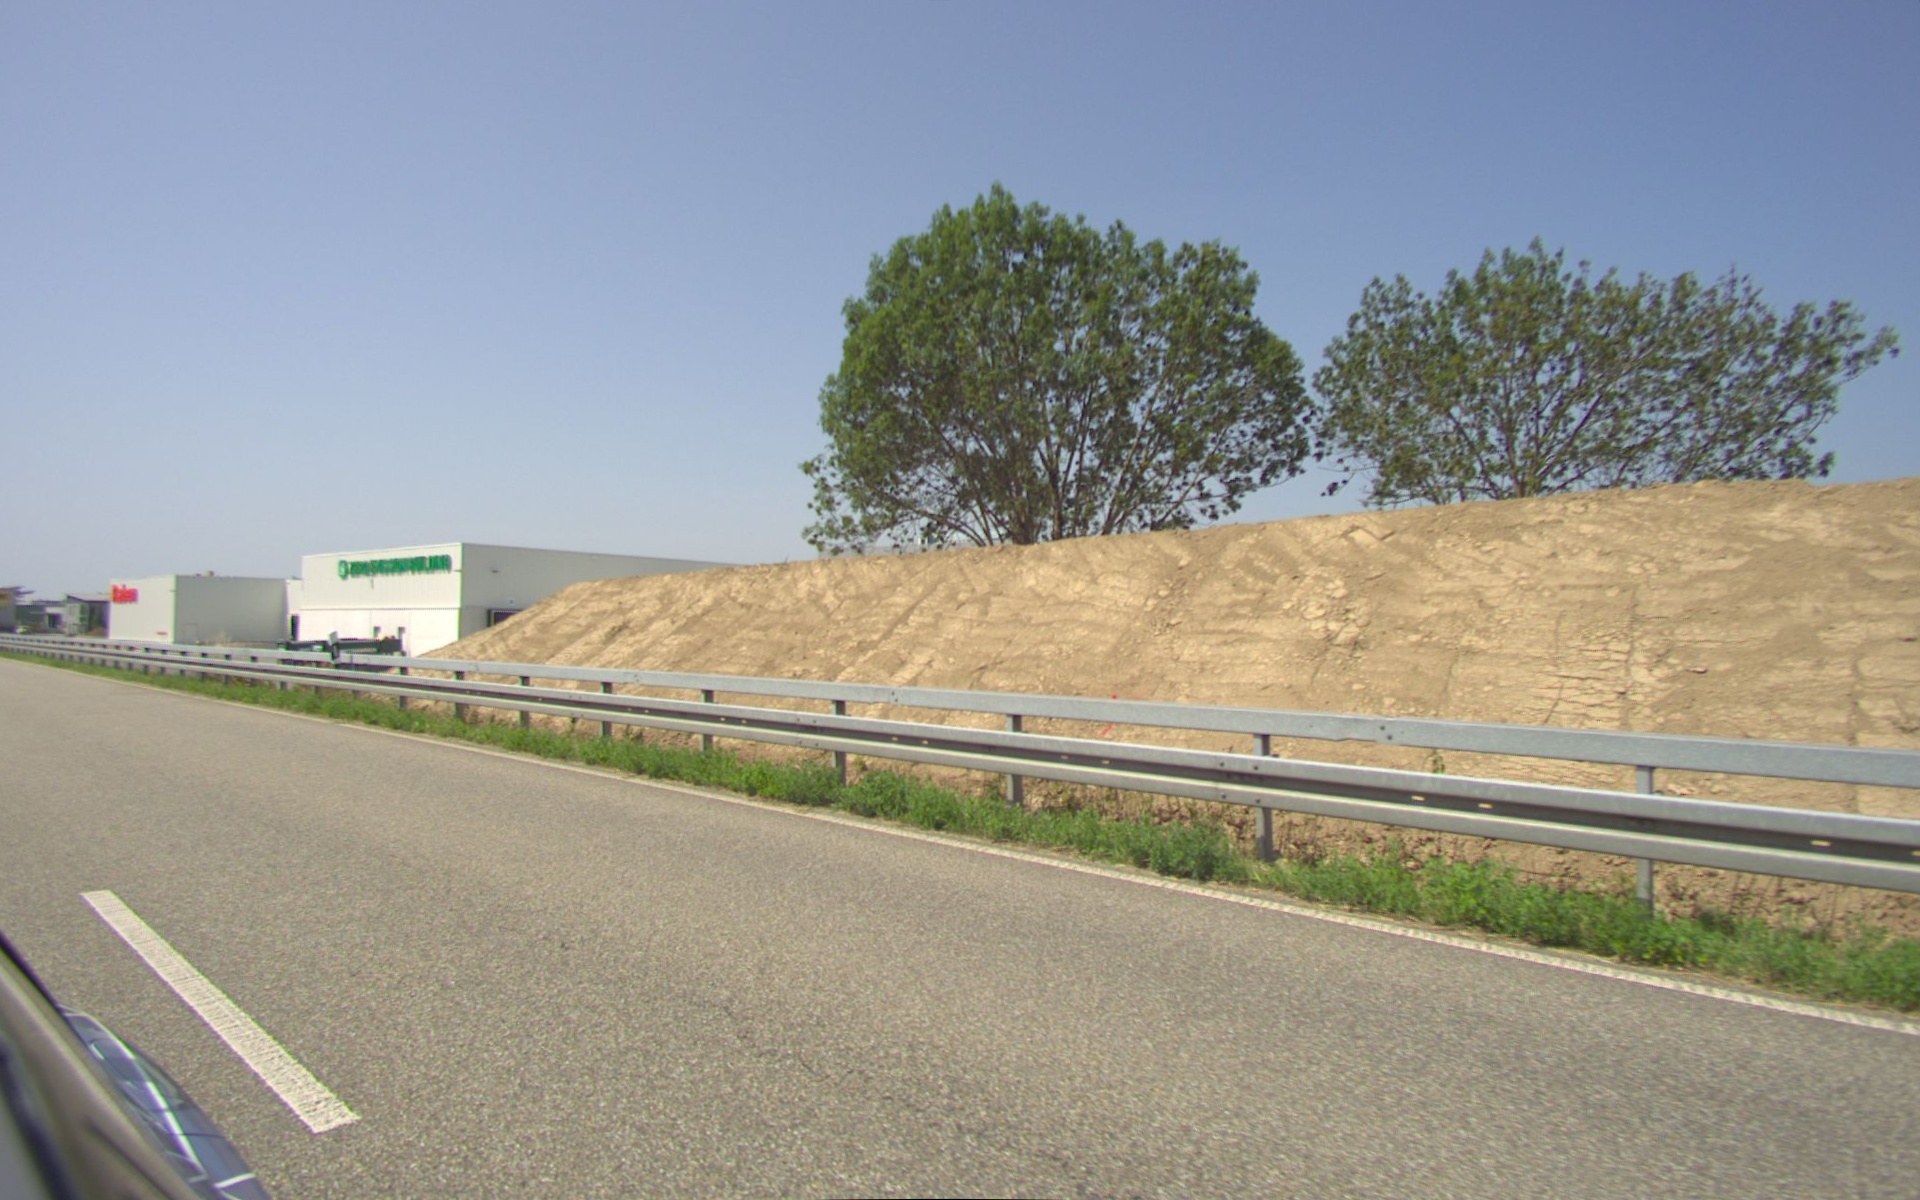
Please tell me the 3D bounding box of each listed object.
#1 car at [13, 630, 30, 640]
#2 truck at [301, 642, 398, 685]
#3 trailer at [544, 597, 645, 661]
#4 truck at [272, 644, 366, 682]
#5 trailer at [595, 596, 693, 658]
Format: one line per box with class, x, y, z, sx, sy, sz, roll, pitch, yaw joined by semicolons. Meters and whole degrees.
car;-165.666;6.132;178.605;3.306;1.686;1.537;-1;-3;36
truck;-39.725;4.074;65.962;2.269;2.556;4.999;-1;-1;36
trailer;-24.338;1.847;67.284;7.570;4.018;2.638;0;-1;38
truck;-43.167;4.208;68.210;2.231;2.351;4.957;-2;-2;41
trailer;-22.154;1.834;70.705;7.570;4.124;2.638;0;-1;38
